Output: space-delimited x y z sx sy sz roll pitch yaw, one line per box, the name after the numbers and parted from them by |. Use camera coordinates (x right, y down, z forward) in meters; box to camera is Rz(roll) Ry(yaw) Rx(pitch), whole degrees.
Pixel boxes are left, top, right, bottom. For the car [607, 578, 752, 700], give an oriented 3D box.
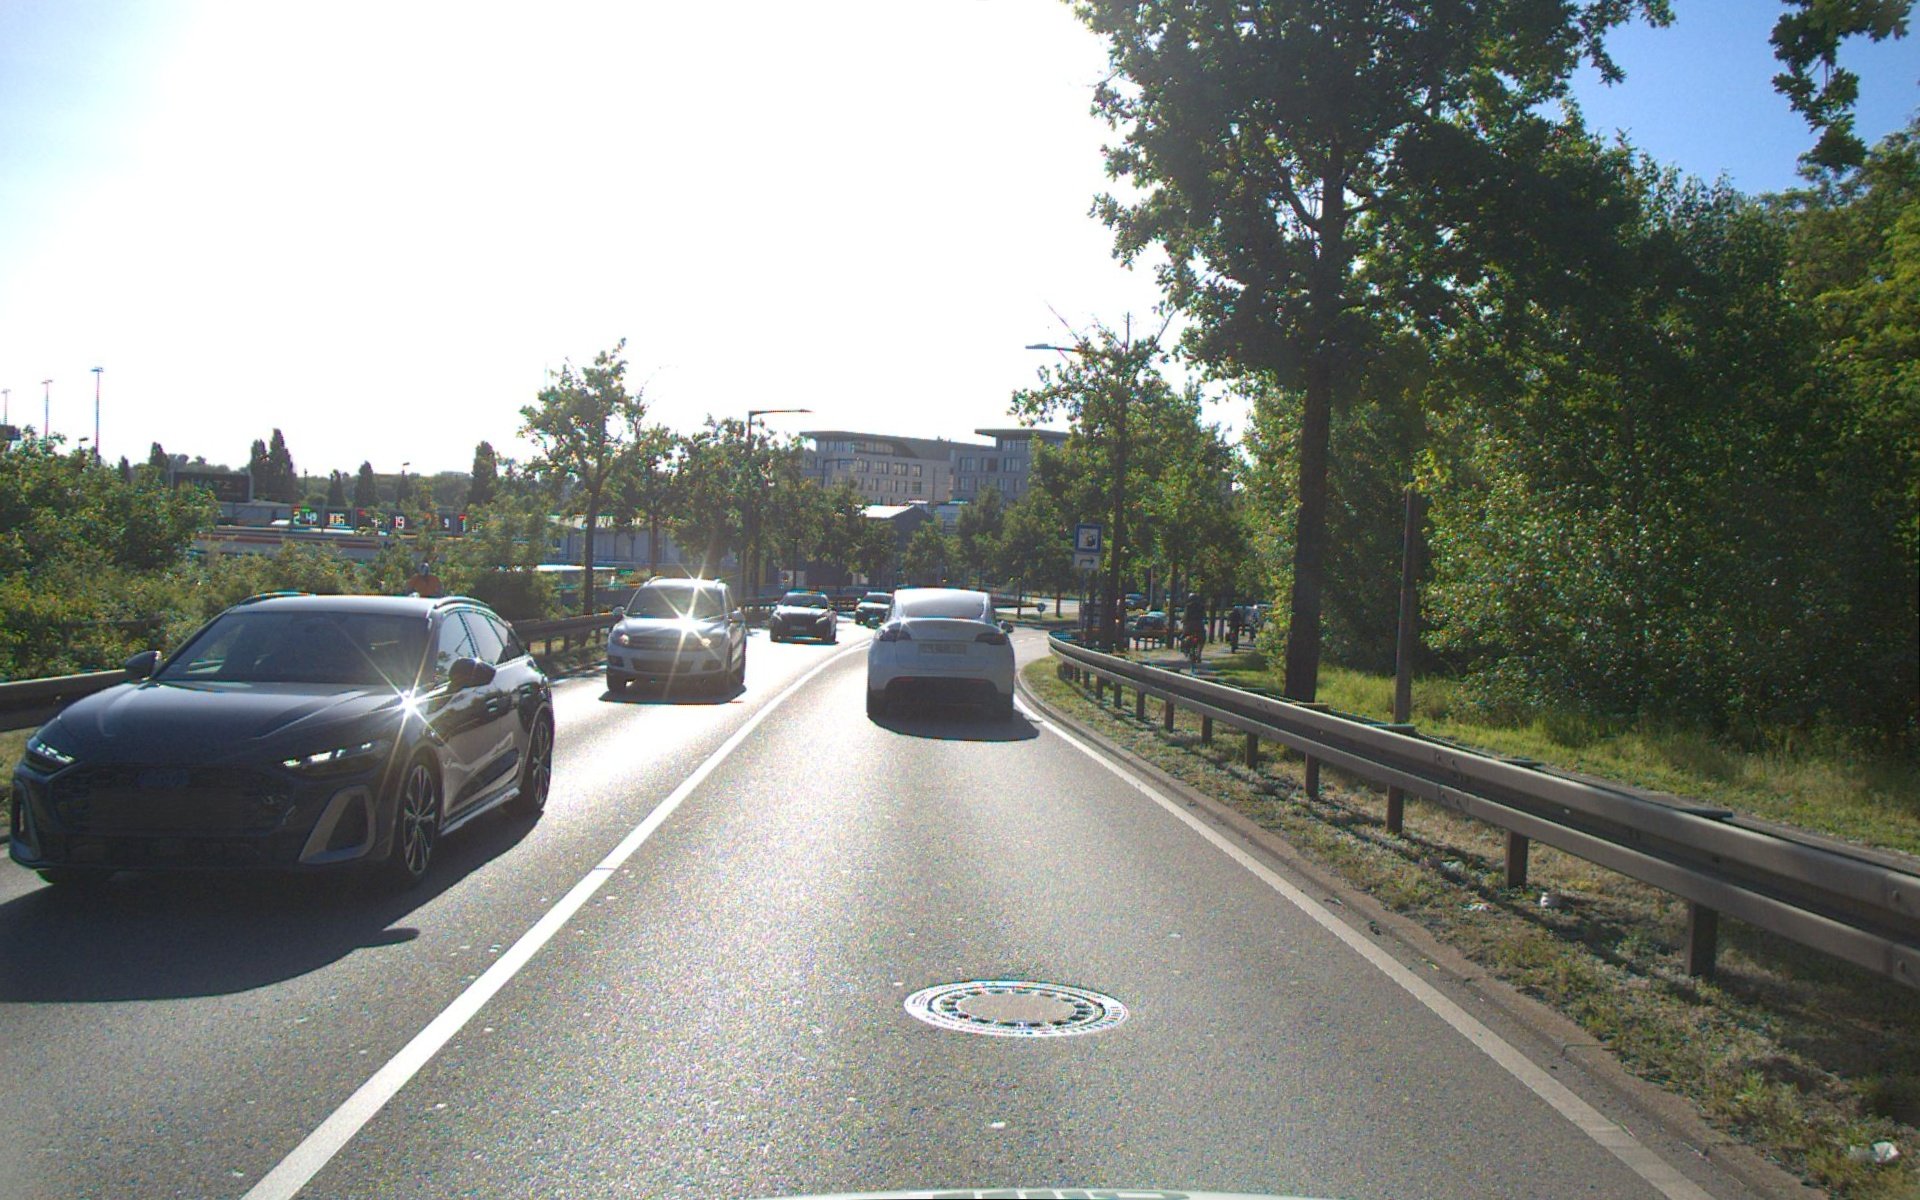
-4.198 0.537 25.256 1.694 1.687 3.979 1 0 -3 | car

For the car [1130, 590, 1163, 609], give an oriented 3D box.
17.460 -0.052 154.451 1.727 1.514 4.274 4 0 24 | car

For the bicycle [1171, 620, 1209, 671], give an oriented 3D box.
5.186 1.031 37.217 0.686 1.093 1.922 1 -2 12 | bicycle

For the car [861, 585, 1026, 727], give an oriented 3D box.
-0.330 0.666 22.206 1.876 1.669 4.406 1 0 -5 | car

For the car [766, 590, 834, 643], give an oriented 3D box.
-4.757 0.469 49.730 1.657 1.466 4.215 1 0 -1 | car

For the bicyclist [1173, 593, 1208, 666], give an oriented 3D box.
5.217 0.655 37.355 0.692 1.606 1.005 1 0 11 | bicyclist

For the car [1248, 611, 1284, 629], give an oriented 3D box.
29.503 1.938 159.344 1.683 1.548 3.722 5 2 40 | car

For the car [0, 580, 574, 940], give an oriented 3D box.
-3.611 0.678 9.489 1.812 1.518 4.714 1 0 -2 | car

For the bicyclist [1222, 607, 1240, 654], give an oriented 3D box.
10.825 1.208 65.979 0.661 1.807 0.949 1 0 9 | bicyclist

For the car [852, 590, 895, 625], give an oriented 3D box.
-3.993 0.333 77.007 1.772 1.523 4.369 1 0 0 | car

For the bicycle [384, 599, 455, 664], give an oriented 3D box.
-9.778 0.552 29.992 0.647 1.114 2.107 1 0 -2 | bicycle

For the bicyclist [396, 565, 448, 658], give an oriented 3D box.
-9.773 0.212 30.073 0.638 1.651 0.874 1 0 -3 | bicyclist

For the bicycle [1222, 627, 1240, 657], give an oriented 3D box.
10.823 1.673 66.065 0.680 1.114 2.119 1 0 9 | bicycle

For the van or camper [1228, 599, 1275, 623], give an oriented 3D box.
24.122 0.931 136.898 1.797 1.821 4.523 5 3 38 | van or camper

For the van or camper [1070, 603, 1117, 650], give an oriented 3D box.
5.777 1.115 71.556 1.917 1.917 4.883 1 0 5 | van or camper

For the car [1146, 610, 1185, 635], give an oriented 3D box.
14.298 1.556 114.703 1.727 1.500 4.290 4 2 20 | car

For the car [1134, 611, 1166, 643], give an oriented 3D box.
10.554 1.490 91.947 1.571 1.459 3.682 4 3 5 | car
